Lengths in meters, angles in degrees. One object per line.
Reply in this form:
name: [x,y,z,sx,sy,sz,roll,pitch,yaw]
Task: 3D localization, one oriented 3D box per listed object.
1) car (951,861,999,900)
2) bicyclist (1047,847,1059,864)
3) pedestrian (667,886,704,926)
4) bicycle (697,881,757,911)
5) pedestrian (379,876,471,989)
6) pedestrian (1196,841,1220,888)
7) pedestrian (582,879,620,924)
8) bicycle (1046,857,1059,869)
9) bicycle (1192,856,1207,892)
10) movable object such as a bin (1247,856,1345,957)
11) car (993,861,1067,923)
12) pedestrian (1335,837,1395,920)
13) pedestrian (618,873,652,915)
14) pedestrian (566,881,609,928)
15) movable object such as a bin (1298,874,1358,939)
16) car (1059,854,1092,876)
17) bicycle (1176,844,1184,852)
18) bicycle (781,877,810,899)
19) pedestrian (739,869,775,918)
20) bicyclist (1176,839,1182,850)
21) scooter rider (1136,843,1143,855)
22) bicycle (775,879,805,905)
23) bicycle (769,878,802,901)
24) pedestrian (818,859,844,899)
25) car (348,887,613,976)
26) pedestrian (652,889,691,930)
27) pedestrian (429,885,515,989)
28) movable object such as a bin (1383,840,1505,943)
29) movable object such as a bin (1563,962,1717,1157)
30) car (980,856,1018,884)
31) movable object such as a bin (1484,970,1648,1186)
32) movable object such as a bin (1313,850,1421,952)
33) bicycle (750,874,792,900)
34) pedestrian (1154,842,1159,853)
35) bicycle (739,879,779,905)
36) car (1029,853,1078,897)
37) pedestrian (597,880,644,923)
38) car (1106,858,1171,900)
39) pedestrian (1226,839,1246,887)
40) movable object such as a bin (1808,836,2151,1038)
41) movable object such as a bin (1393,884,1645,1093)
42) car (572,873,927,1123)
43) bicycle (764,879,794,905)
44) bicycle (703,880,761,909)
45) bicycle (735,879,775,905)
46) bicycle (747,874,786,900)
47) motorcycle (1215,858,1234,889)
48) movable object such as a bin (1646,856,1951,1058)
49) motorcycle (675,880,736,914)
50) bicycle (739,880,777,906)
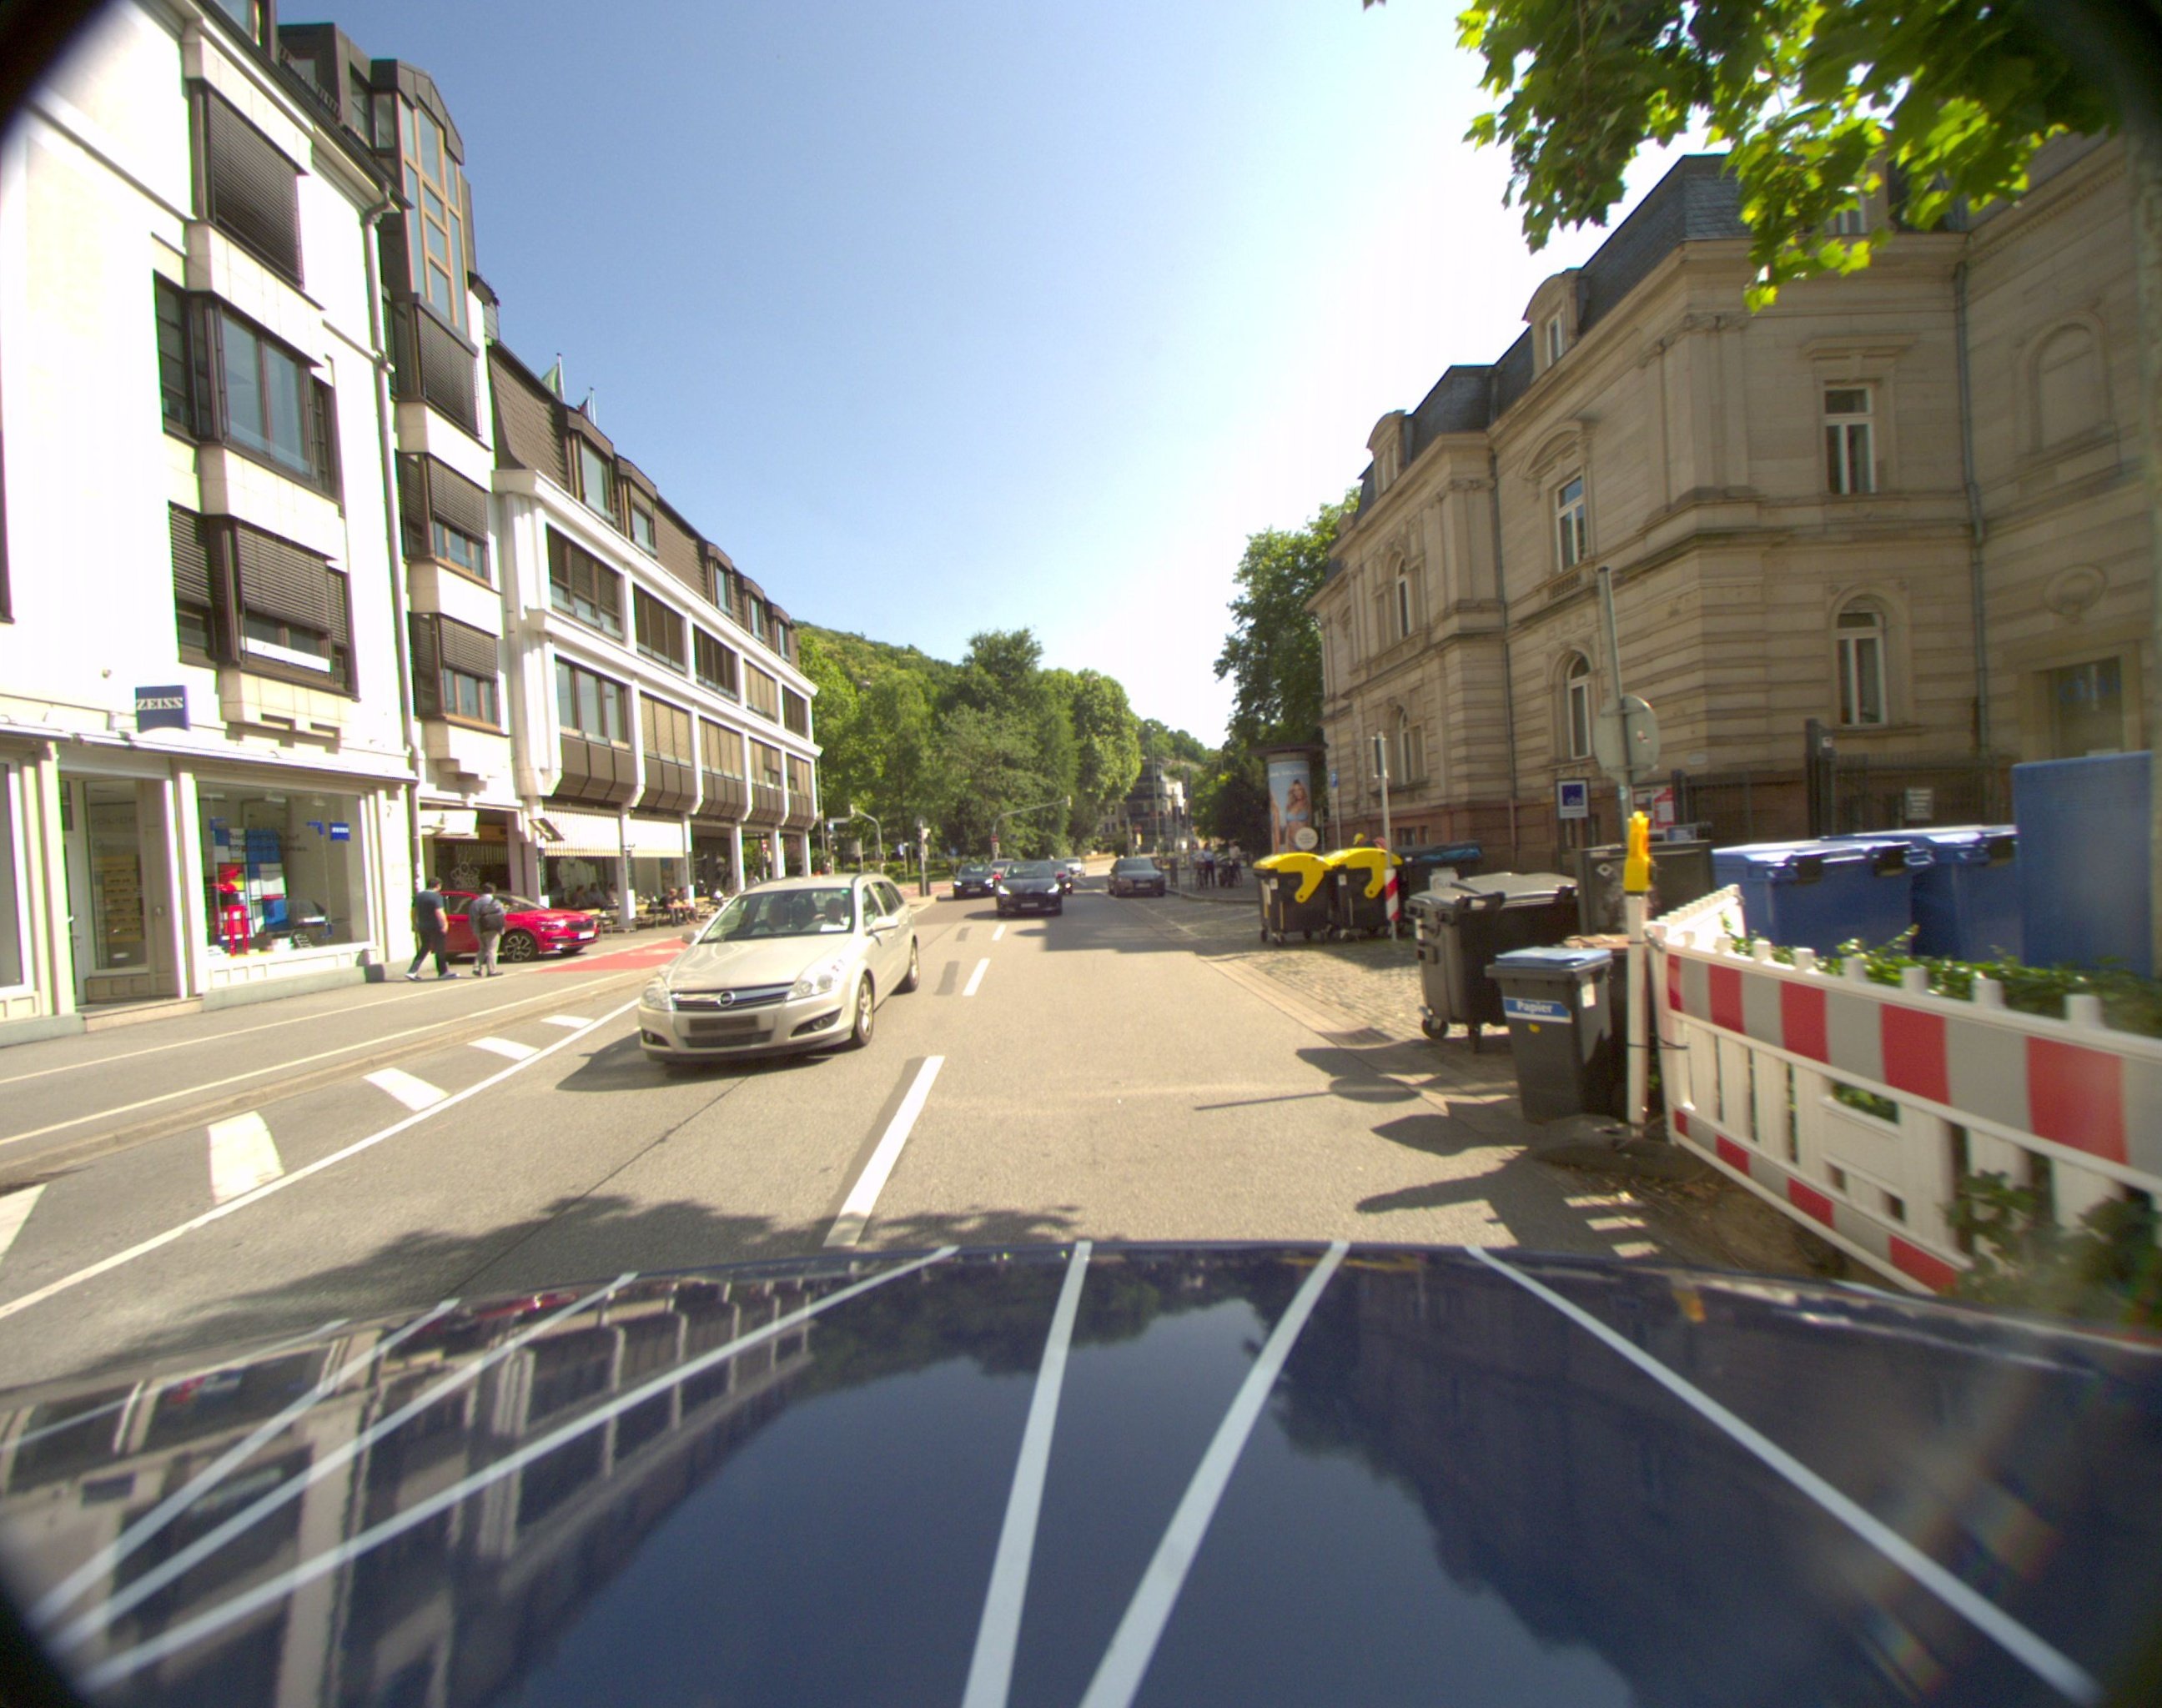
car: [-4.549,1.091,32.824,1.849,1.421,4.209,-3,1,-7]
bicyclist: [-2.813,0.145,76.296,0.866,1.566,0.944,-3,2,15]
pedestrian: [-12.792,1.683,24.574,0.713,1.210,0.697,-3,2,6]
bicycle: [-15.164,1.794,32.553,2.244,1.090,0.277,-4,1,-16]
pedestrian: [-11.397,1.346,13.227,0.696,1.840,0.835,-3,2,6]
pedestrian: [4.667,0.380,27.870,0.696,1.685,0.690,-3,2,0]
pedestrian: [-15.746,1.550,24.920,0.713,1.389,0.696,-3,2,-3]
bicycle: [-2.840,0.852,76.176,0.782,1.114,1.679,-3,0,17]
bicycle: [4.292,0.699,27.626,0.430,1.114,2.243,-5,2,8]
movable object such as a bin: [3.425,0.807,12.291,1.126,1.442,1.439,-5,-1,3]
car: [-1.455,0.978,21.179,1.811,1.443,3.952,-2,0,-5]
pedestrian: [6.195,0.514,16.626,0.892,1.715,0.748,-4,1,-9]
pedestrian: [-15.819,1.419,26.953,0.713,1.389,0.696,-3,2,-4]
pedestrian: [-15.638,1.603,24.084,0.815,1.389,0.696,-3,2,-4]
movable object such as a bin: [4.460,0.938,13.751,0.725,1.091,0.656,-5,0,-10]
car: [-0.352,0.787,56.842,1.941,1.421,4.550,-3,1,5]
bicycle: [16.281,-1.021,125.067,0.758,1.114,2.003,-2,2,19]
bicycle: [-14.821,1.772,39.409,0.308,1.059,1.474,-2,1,33]
pedestrian: [-11.643,1.412,27.304,0.834,1.654,0.697,-3,2,6]
bicyclist: [16.096,-1.543,124.641,0.765,1.627,0.944,-2,2,20]
scooter rider: [8.377,-0.675,109.111,0.822,1.662,0.710,-2,2,18]
bicycle: [-13.761,1.780,35.954,0.277,1.114,2.244,-3,0,5]
bicycle: [-14.879,1.793,38.314,0.376,1.059,1.474,-1,1,44]
pedestrian: [-11.824,1.167,35.914,0.834,1.825,0.697,-3,2,6]
car: [-12.605,1.593,16.158,4.055,1.486,1.841,-3,0,-1]
pedestrian: [-12.781,1.728,23.718,0.713,1.166,0.697,-3,2,6]
pedestrian: [-10.512,1.412,13.143,0.696,1.676,0.836,-3,1,6]
movable object such as a bin: [5.704,0.565,12.045,1.211,1.442,1.364,-5,-1,3]
movable object such as a bin: [3.110,1.113,4.270,0.499,0.934,0.556,-2,0,14]
car: [-4.864,0.936,45.836,1.942,1.421,4.341,-3,1,-3]
movable object such as a bin: [2.542,1.128,3.999,0.556,0.934,0.499,-2,0,-28]
movable object such as a bin: [4.552,0.721,12.233,1.126,1.442,1.439,-5,-1,3]
bicycle: [-16.864,1.807,41.380,1.971,1.309,0.529,-2,0,-41]
pedestrian: [12.548,-1.064,126.488,0.710,1.663,0.535,-3,1,20]
bicycle: [-14.875,1.750,35.144,1.720,1.114,0.278,-2,1,4]
car: [-1.251,0.836,32.675,1.890,1.674,4.140,-3,0,-4]
pedestrian: [-15.784,1.625,26.069,0.898,1.343,1.105,-3,2,-3]
car: [2.055,0.874,28.205,1.942,1.346,4.249,-3,0,-1]
pedestrian: [5.583,0.309,27.339,0.550,1.656,0.937,-3,2,6]
movable object such as a bin: [6.790,0.584,5.842,1.212,1.292,1.127,-5,-1,-2]
movable object such as a bin: [3.136,0.921,5.555,1.280,1.292,0.853,-4,1,-2]
car: [-2.732,1.044,7.472,1.712,1.513,4.405,-4,0,-4]
bicycle: [-14.189,1.764,35.727,0.277,1.114,2.244,-3,0,5]
bicycle: [-15.228,1.773,33.170,2.243,1.114,0.277,-4,1,-10]
bicycle: [-14.900,1.741,34.748,1.720,1.114,0.278,-2,1,4]
bicycle: [-17.254,1.816,41.735,1.862,1.309,0.529,-2,0,-41]
motorcycle: [5.157,0.684,27.348,0.454,0.992,2.161,-5,1,7]
movable object such as a bin: [5.395,0.724,5.824,1.212,1.291,1.080,-5,-1,-2]
motorcycle: [-15.160,1.730,30.657,2.238,1.283,0.950,-2,2,26]
bicycle: [-14.564,1.739,34.234,1.574,1.114,0.278,-2,1,4]
